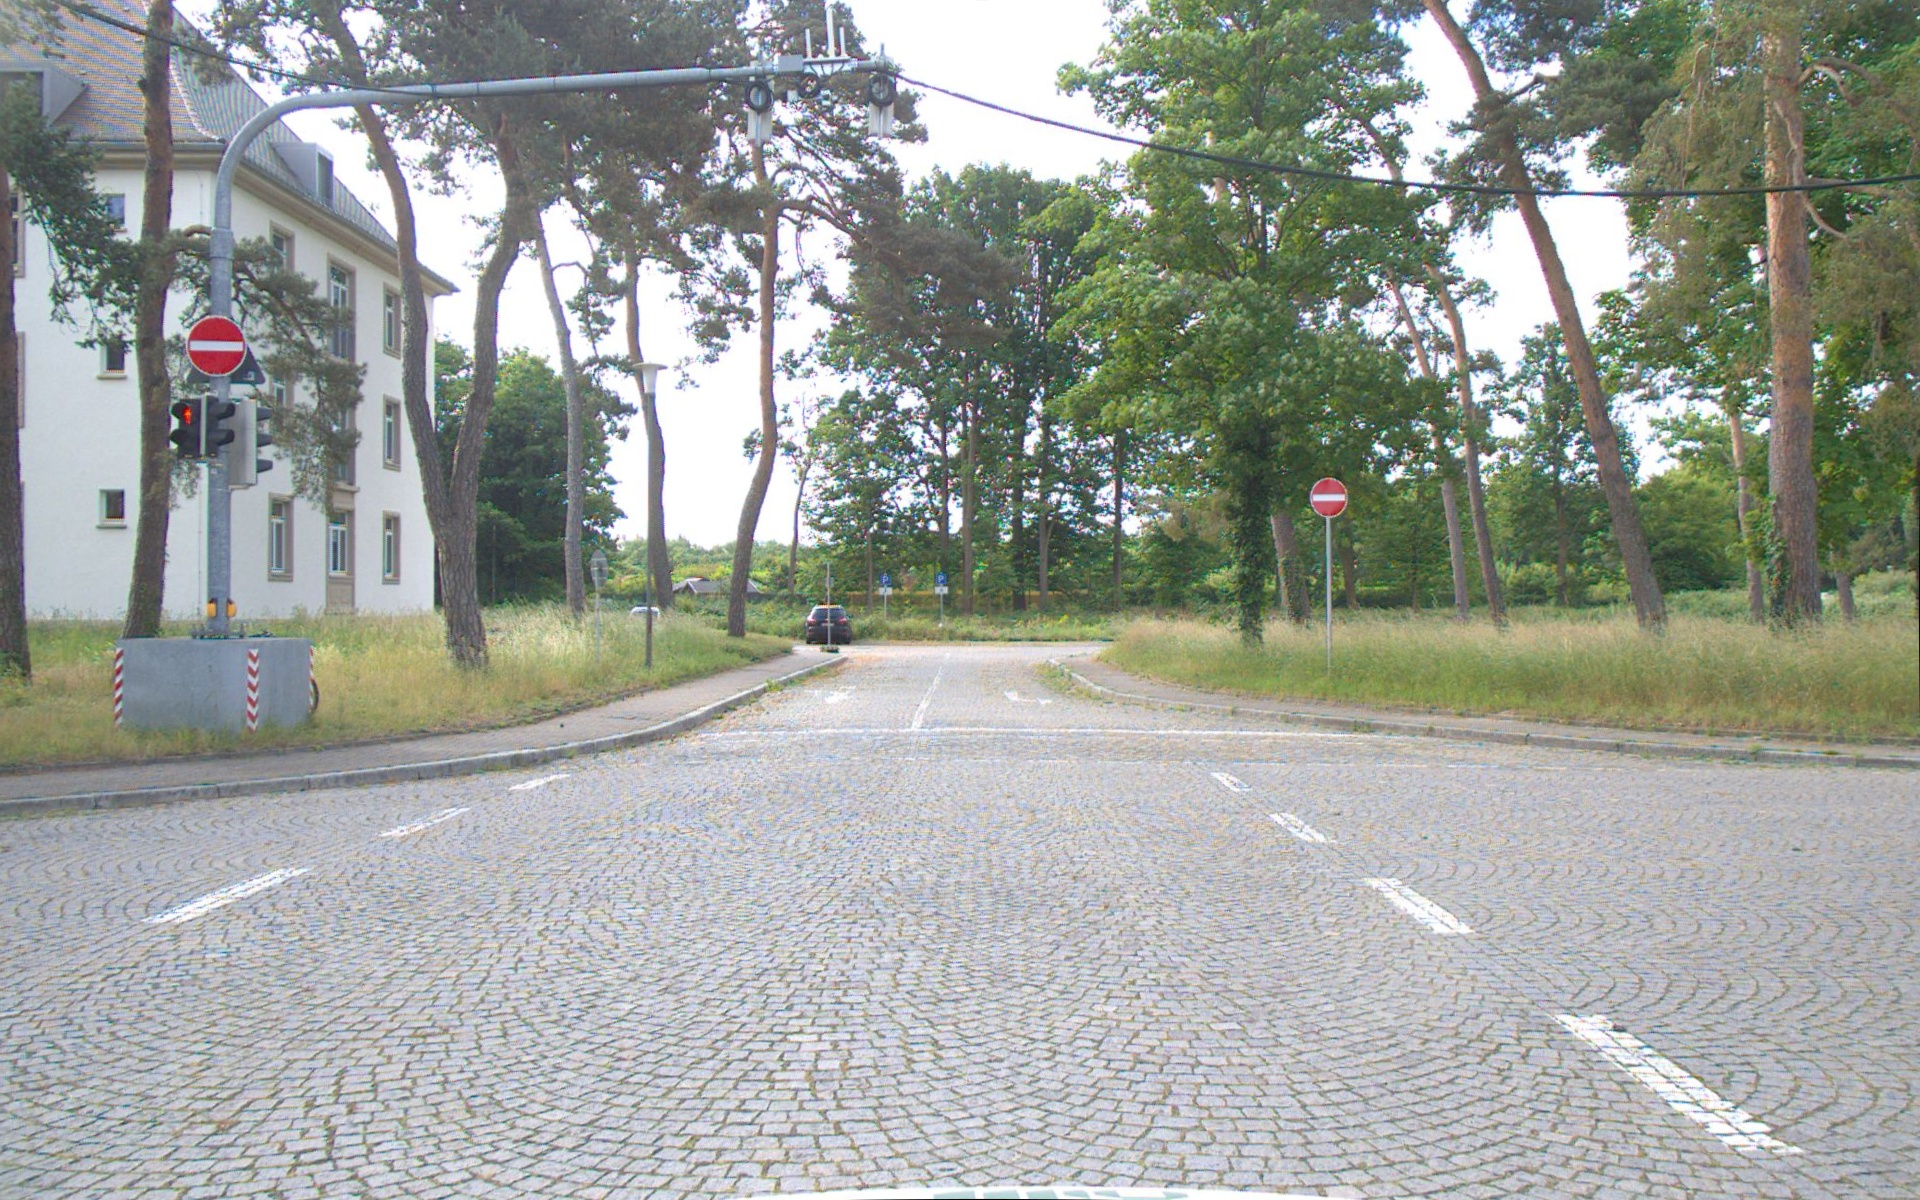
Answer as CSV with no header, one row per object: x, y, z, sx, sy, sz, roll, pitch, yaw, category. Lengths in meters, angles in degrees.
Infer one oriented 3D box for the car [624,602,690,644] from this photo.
-12.484,0.919,68.352,1.675,1.638,4.060,2,0,4,car

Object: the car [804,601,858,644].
-5.261,0.893,67.680,1.675,1.638,4.059,2,0,3,car

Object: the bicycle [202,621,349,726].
-7.427,0.792,17.979,1.384,1.093,0.497,0,2,-3,bicycle
